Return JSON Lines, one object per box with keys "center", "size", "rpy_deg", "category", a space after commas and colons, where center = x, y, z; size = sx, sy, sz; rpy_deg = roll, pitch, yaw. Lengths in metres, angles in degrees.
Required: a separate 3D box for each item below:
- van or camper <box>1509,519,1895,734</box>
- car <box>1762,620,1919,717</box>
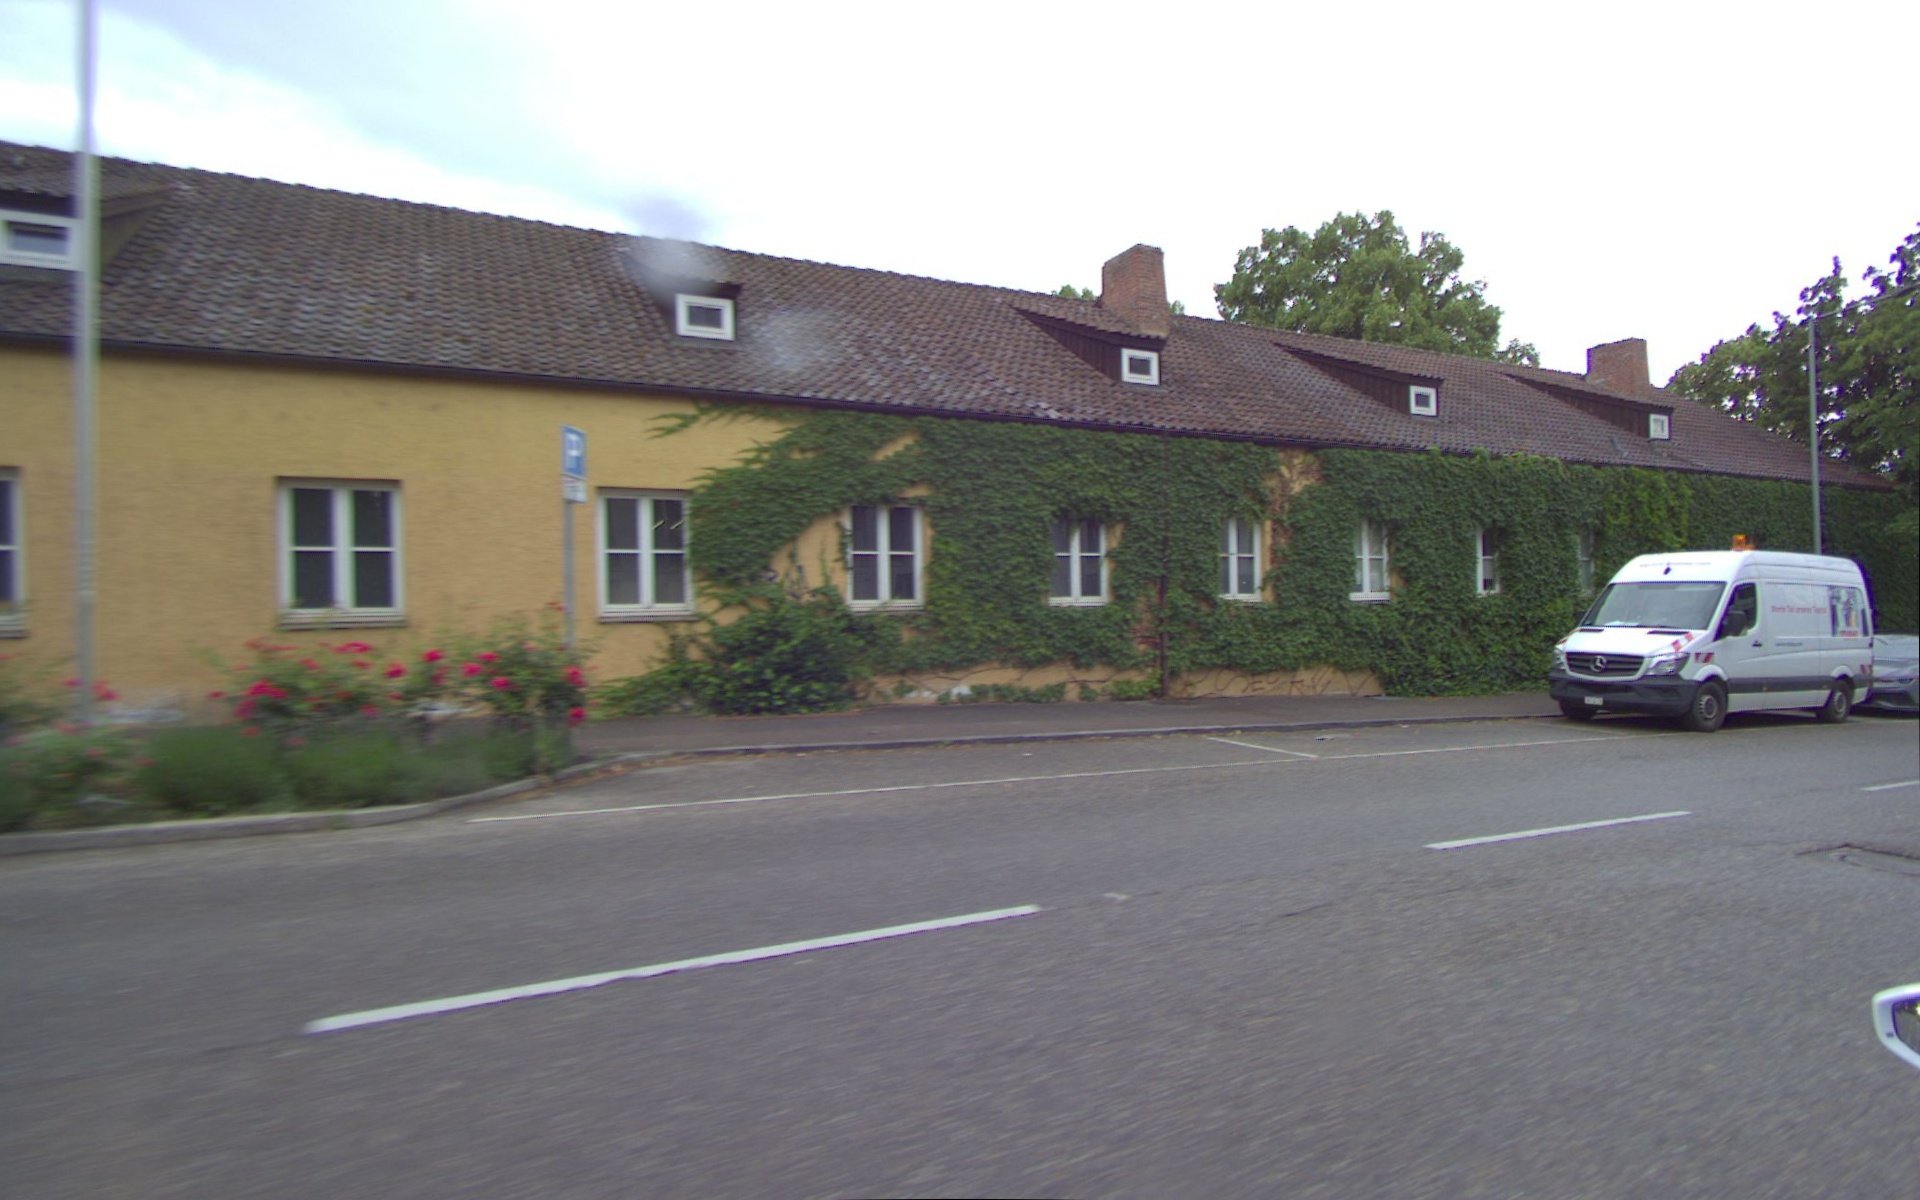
{"center": [11.546, 0.381, 15.549], "size": [6.063, 2.802, 2.331], "rpy_deg": [1, 0, -27], "category": "van or camper"}
{"center": [16.916, 1.197, 18.220], "size": [4.363, 1.533, 1.987], "rpy_deg": [2, 0, -25], "category": "car"}
